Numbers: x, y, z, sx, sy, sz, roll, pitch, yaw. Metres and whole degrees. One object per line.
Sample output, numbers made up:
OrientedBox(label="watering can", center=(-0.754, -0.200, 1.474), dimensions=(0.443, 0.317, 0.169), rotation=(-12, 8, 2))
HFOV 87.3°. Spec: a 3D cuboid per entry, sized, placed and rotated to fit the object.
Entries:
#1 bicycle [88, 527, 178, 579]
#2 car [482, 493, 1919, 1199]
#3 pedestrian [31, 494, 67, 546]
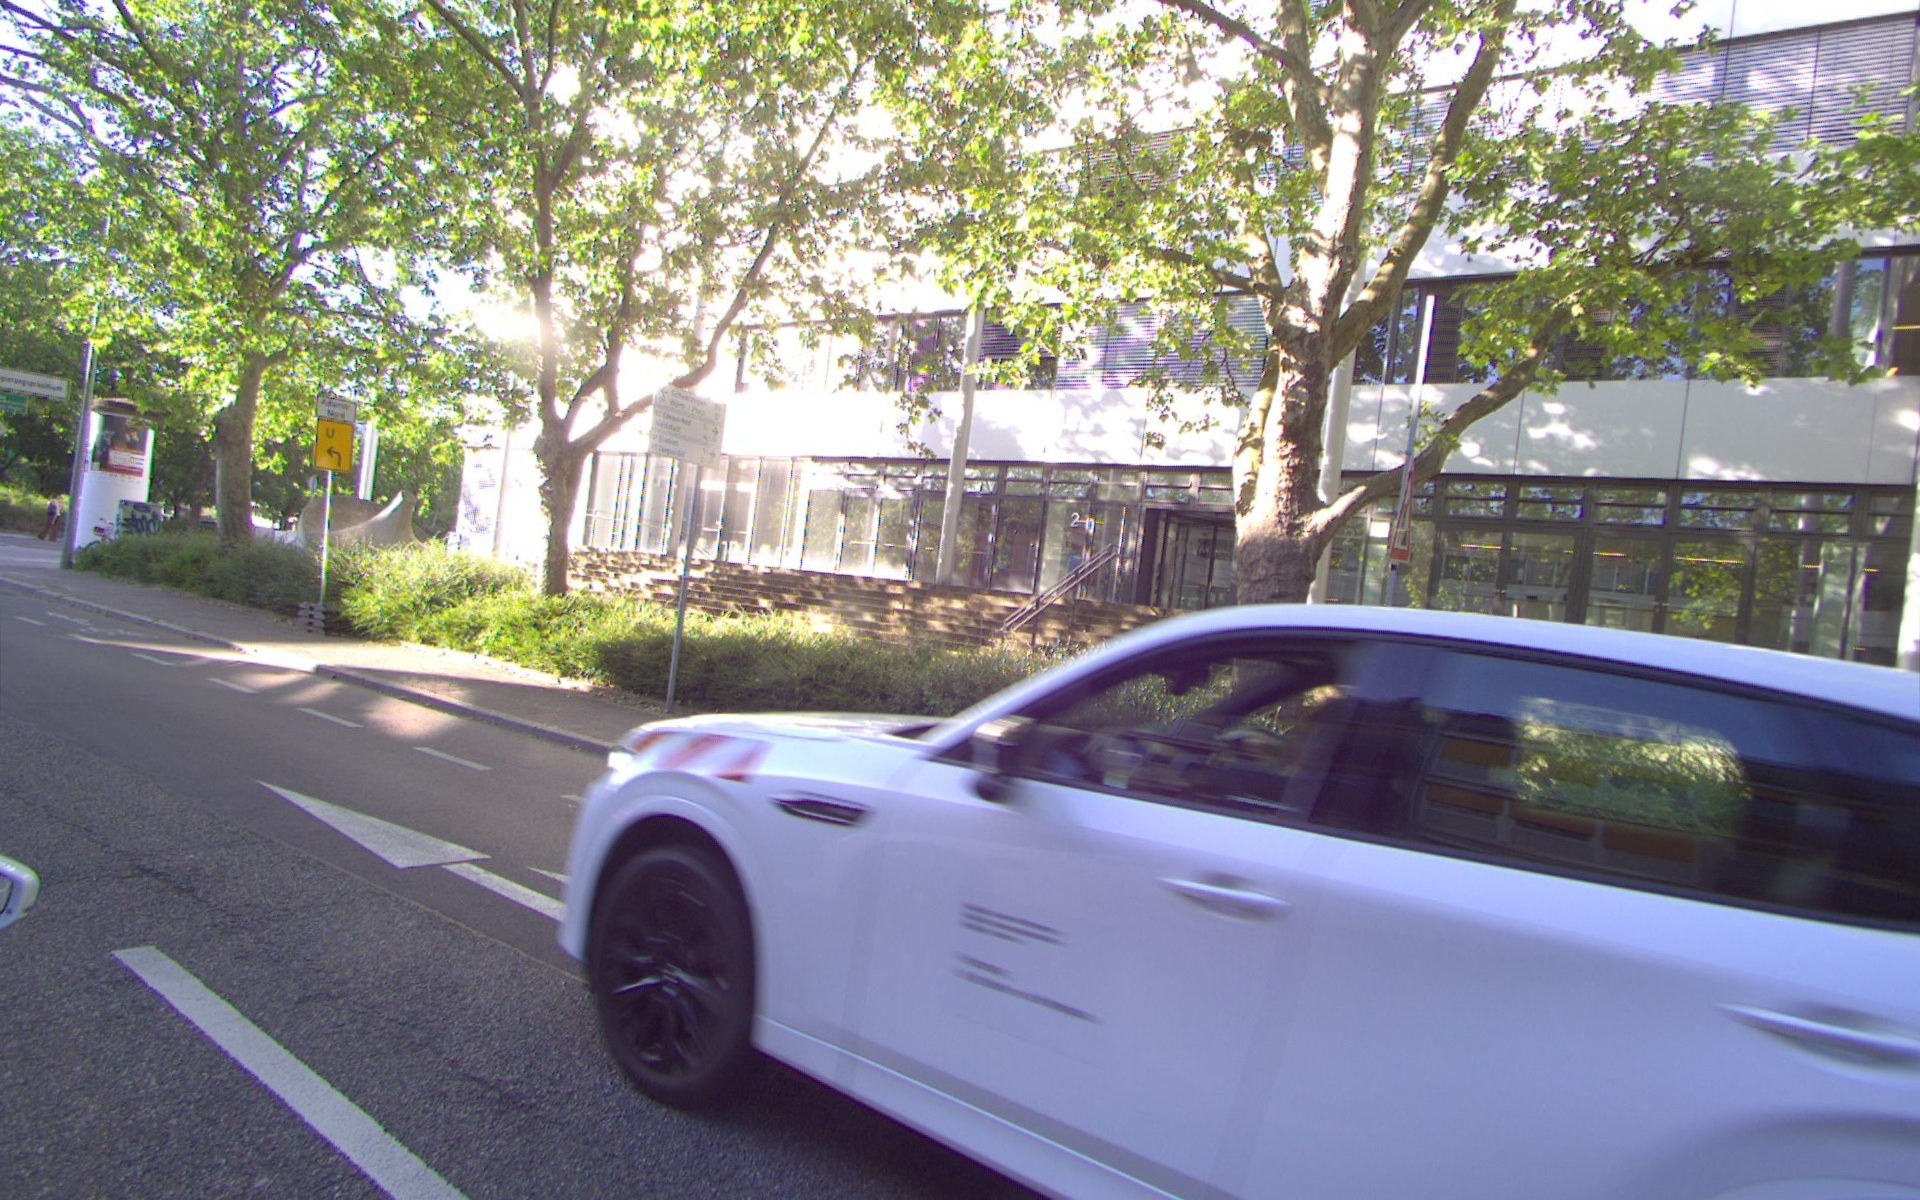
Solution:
OrientedBox(label="bicycle", center=(-19.030, -1.071, 23.171), dimensions=(0.295, 0.991, 1.484), rotation=(6, -2, 37))
OrientedBox(label="car", center=(0.881, 0.829, 2.864), dimensions=(4.412, 1.727, 1.946), rotation=(7, -2, 35))
OrientedBox(label="pedestrian", center=(-33.452, -2.924, 36.944), dimensions=(0.672, 1.793, 0.613), rotation=(8, -1, -29))
